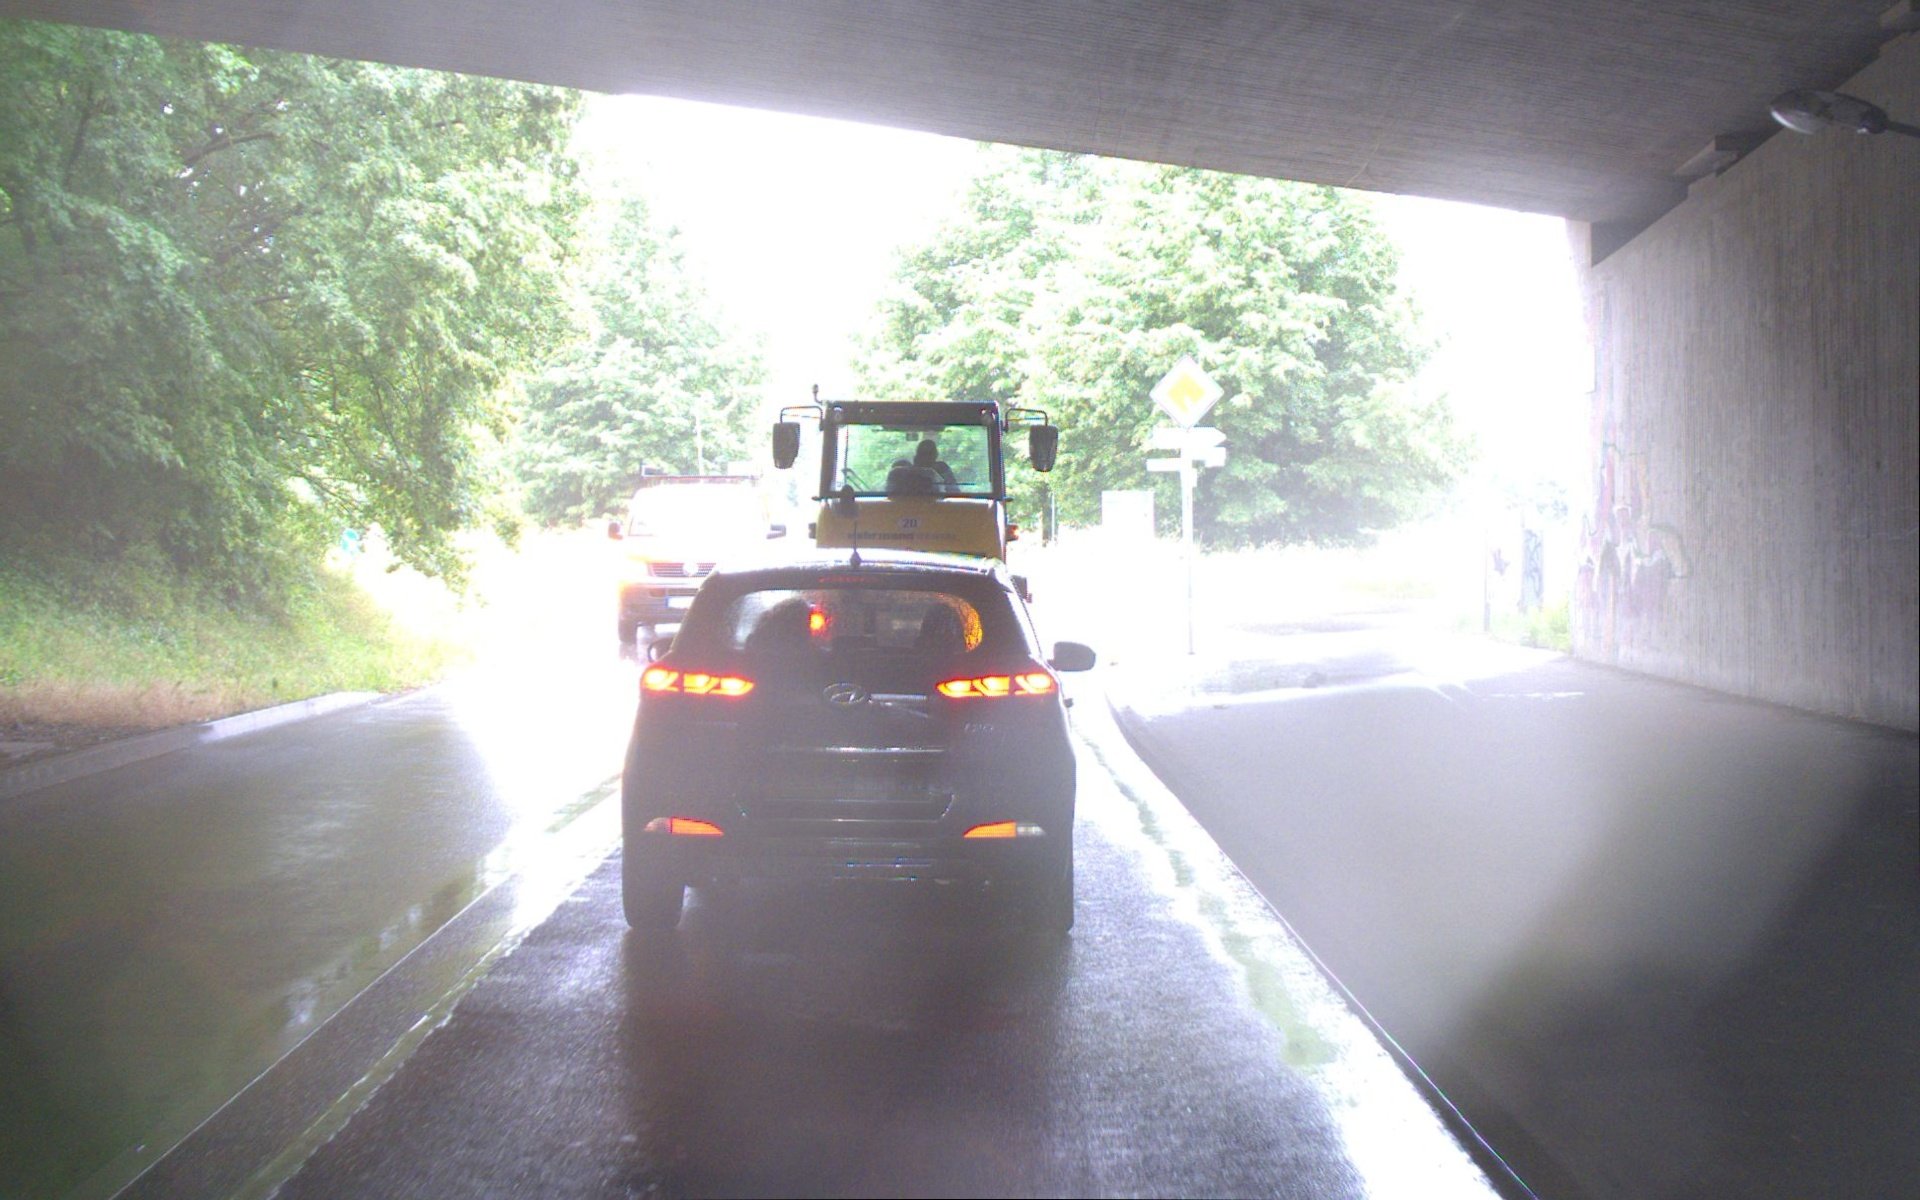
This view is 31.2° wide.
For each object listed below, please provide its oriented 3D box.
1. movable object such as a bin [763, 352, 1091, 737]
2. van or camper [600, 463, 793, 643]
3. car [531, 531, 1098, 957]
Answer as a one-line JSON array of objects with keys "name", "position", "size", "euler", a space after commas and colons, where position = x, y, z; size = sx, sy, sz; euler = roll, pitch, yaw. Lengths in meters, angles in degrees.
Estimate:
[{"name": "movable object such as a bin", "position": [-0.318, -0.456, 27.598], "size": [2.245, 2.660, 6.627], "euler": [2, 1, -2]}, {"name": "van or camper", "position": [-3.246, -0.607, 43.243], "size": [1.993, 2.091, 4.692], "euler": [2, 1, 0]}, {"name": "car", "position": [-0.647, 0.480, 14.321], "size": [1.993, 1.482, 4.001], "euler": [1, 1, -4]}]
